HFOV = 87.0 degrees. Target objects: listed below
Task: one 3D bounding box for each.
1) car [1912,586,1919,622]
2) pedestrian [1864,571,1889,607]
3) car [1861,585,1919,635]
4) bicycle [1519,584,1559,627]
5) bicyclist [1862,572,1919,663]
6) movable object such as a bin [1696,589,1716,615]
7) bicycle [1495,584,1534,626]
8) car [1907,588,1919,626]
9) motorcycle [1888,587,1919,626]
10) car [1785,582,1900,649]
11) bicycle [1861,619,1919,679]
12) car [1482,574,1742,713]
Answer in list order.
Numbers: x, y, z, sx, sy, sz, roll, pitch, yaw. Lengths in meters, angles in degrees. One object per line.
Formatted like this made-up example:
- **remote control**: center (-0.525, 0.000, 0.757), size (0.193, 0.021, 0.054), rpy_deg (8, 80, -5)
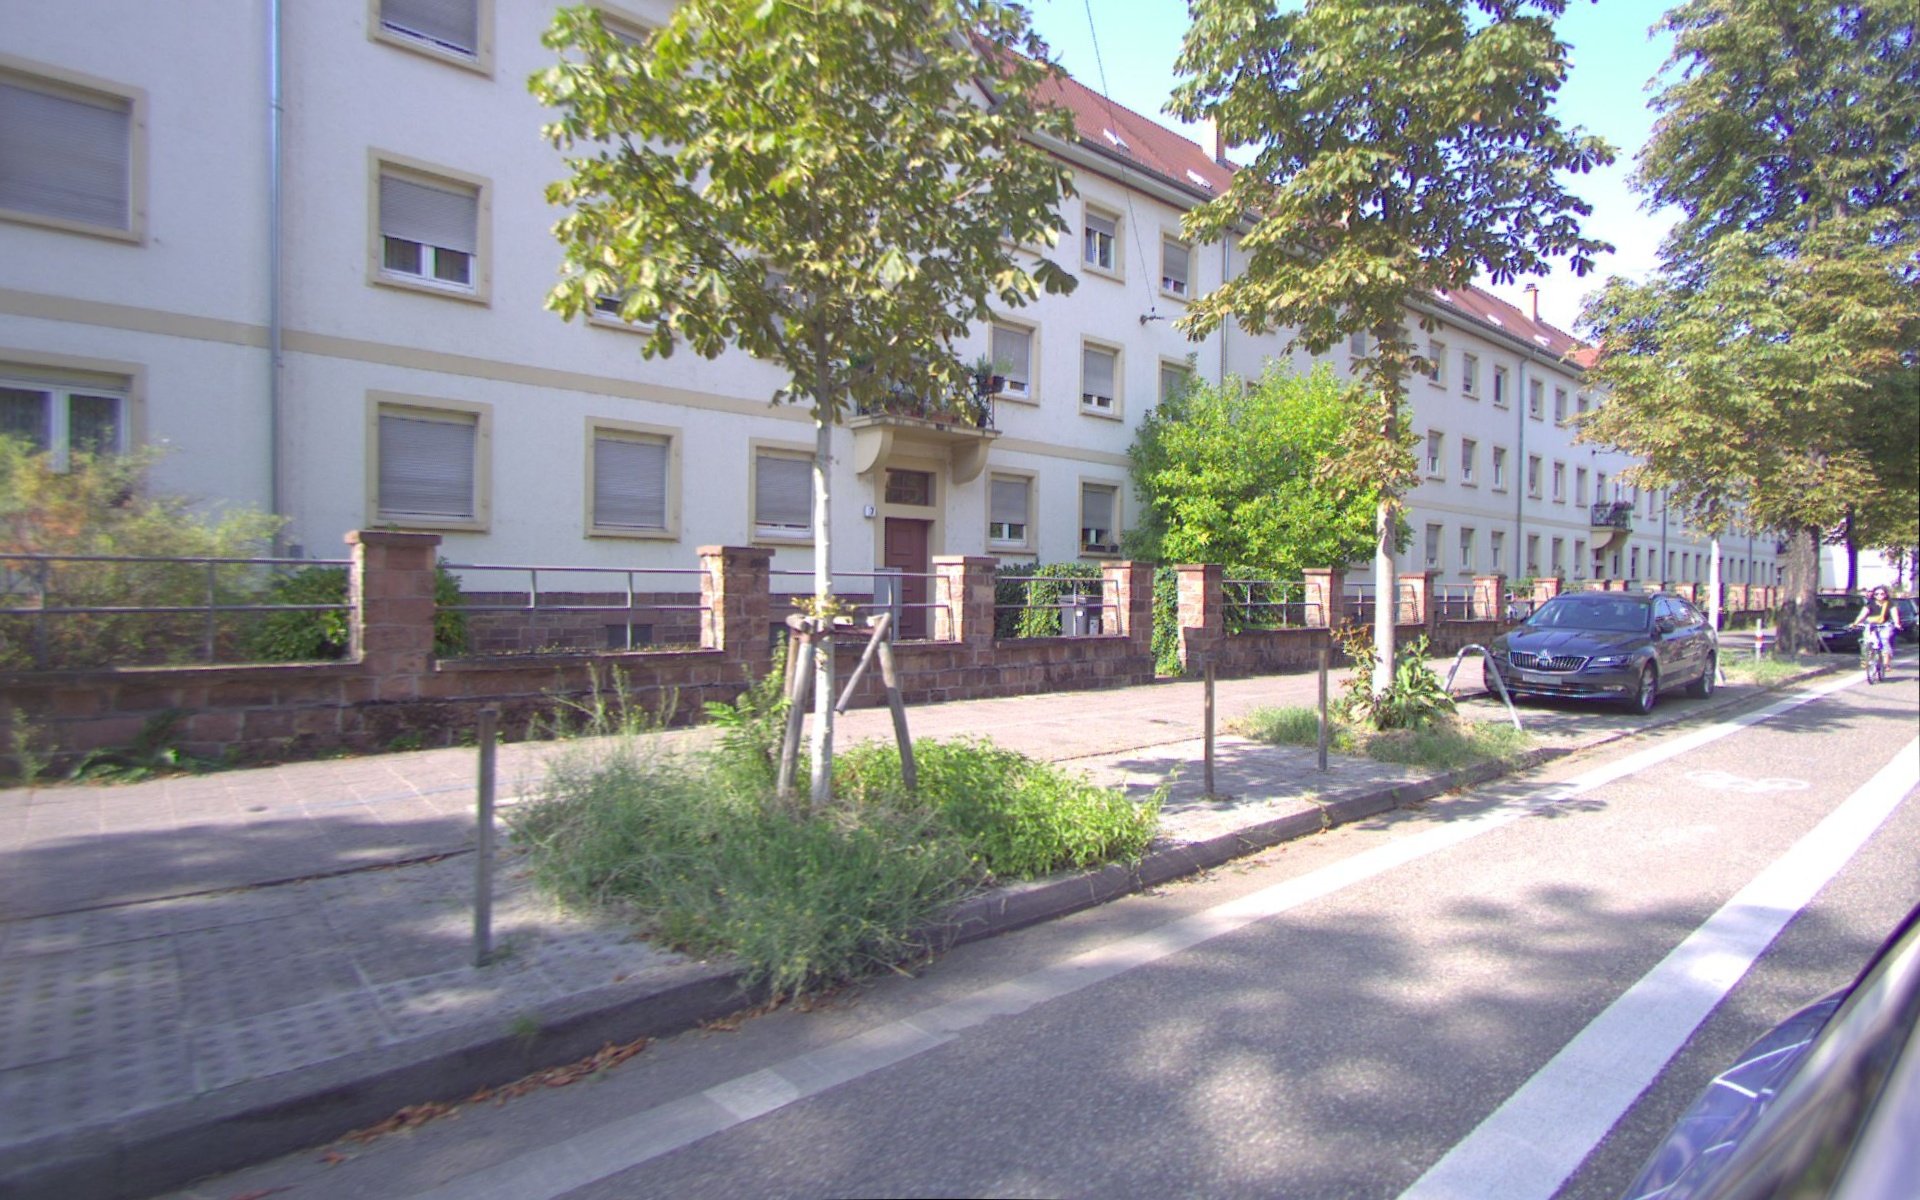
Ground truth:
- **car**: center (44.233, 0.190, 45.290), size (3.770, 1.559, 1.651), rpy_deg (0, 3, -36)
- **pedestrian**: center (46.589, -0.560, 51.428), size (0.861, 1.771, 0.755), rpy_deg (0, 0, -35)
- **car**: center (30.709, 0.294, 32.825), size (4.262, 1.452, 1.693), rpy_deg (0, 4, -42)
- **bicycle**: center (14.944, 0.124, 26.112), size (1.462, 1.073, 0.416), rpy_deg (0, 1, -41)
- **bicyclist**: center (15.704, 0.288, 17.027), size (0.893, 1.493, 0.655), rpy_deg (0, -1, -42)
- **movable object such as a bin**: center (31.158, 0.078, 42.267), size (0.649, 1.083, 0.507), rpy_deg (0, 1, -40)
- **bicycle**: center (14.643, 0.128, 26.712), size (1.462, 1.073, 0.416), rpy_deg (0, 1, -41)
- **car**: center (38.531, 0.279, 39.649), size (4.172, 1.466, 1.649), rpy_deg (-1, 3, -41)
- **motorcycle**: center (35.536, 0.283, 37.310), size (0.693, 1.306, 1.857), rpy_deg (7, 0, -44)
- **car**: center (22.691, 0.330, 25.980), size (4.026, 1.520, 1.693), rpy_deg (-1, 3, -42)
- **bicycle**: center (15.706, 0.802, 17.001), size (1.745, 0.920, 0.655), rpy_deg (-1, -1, -42)
- **car**: center (9.010, 0.460, 13.816), size (4.637, 1.580, 1.747), rpy_deg (-1, 2, -41)
